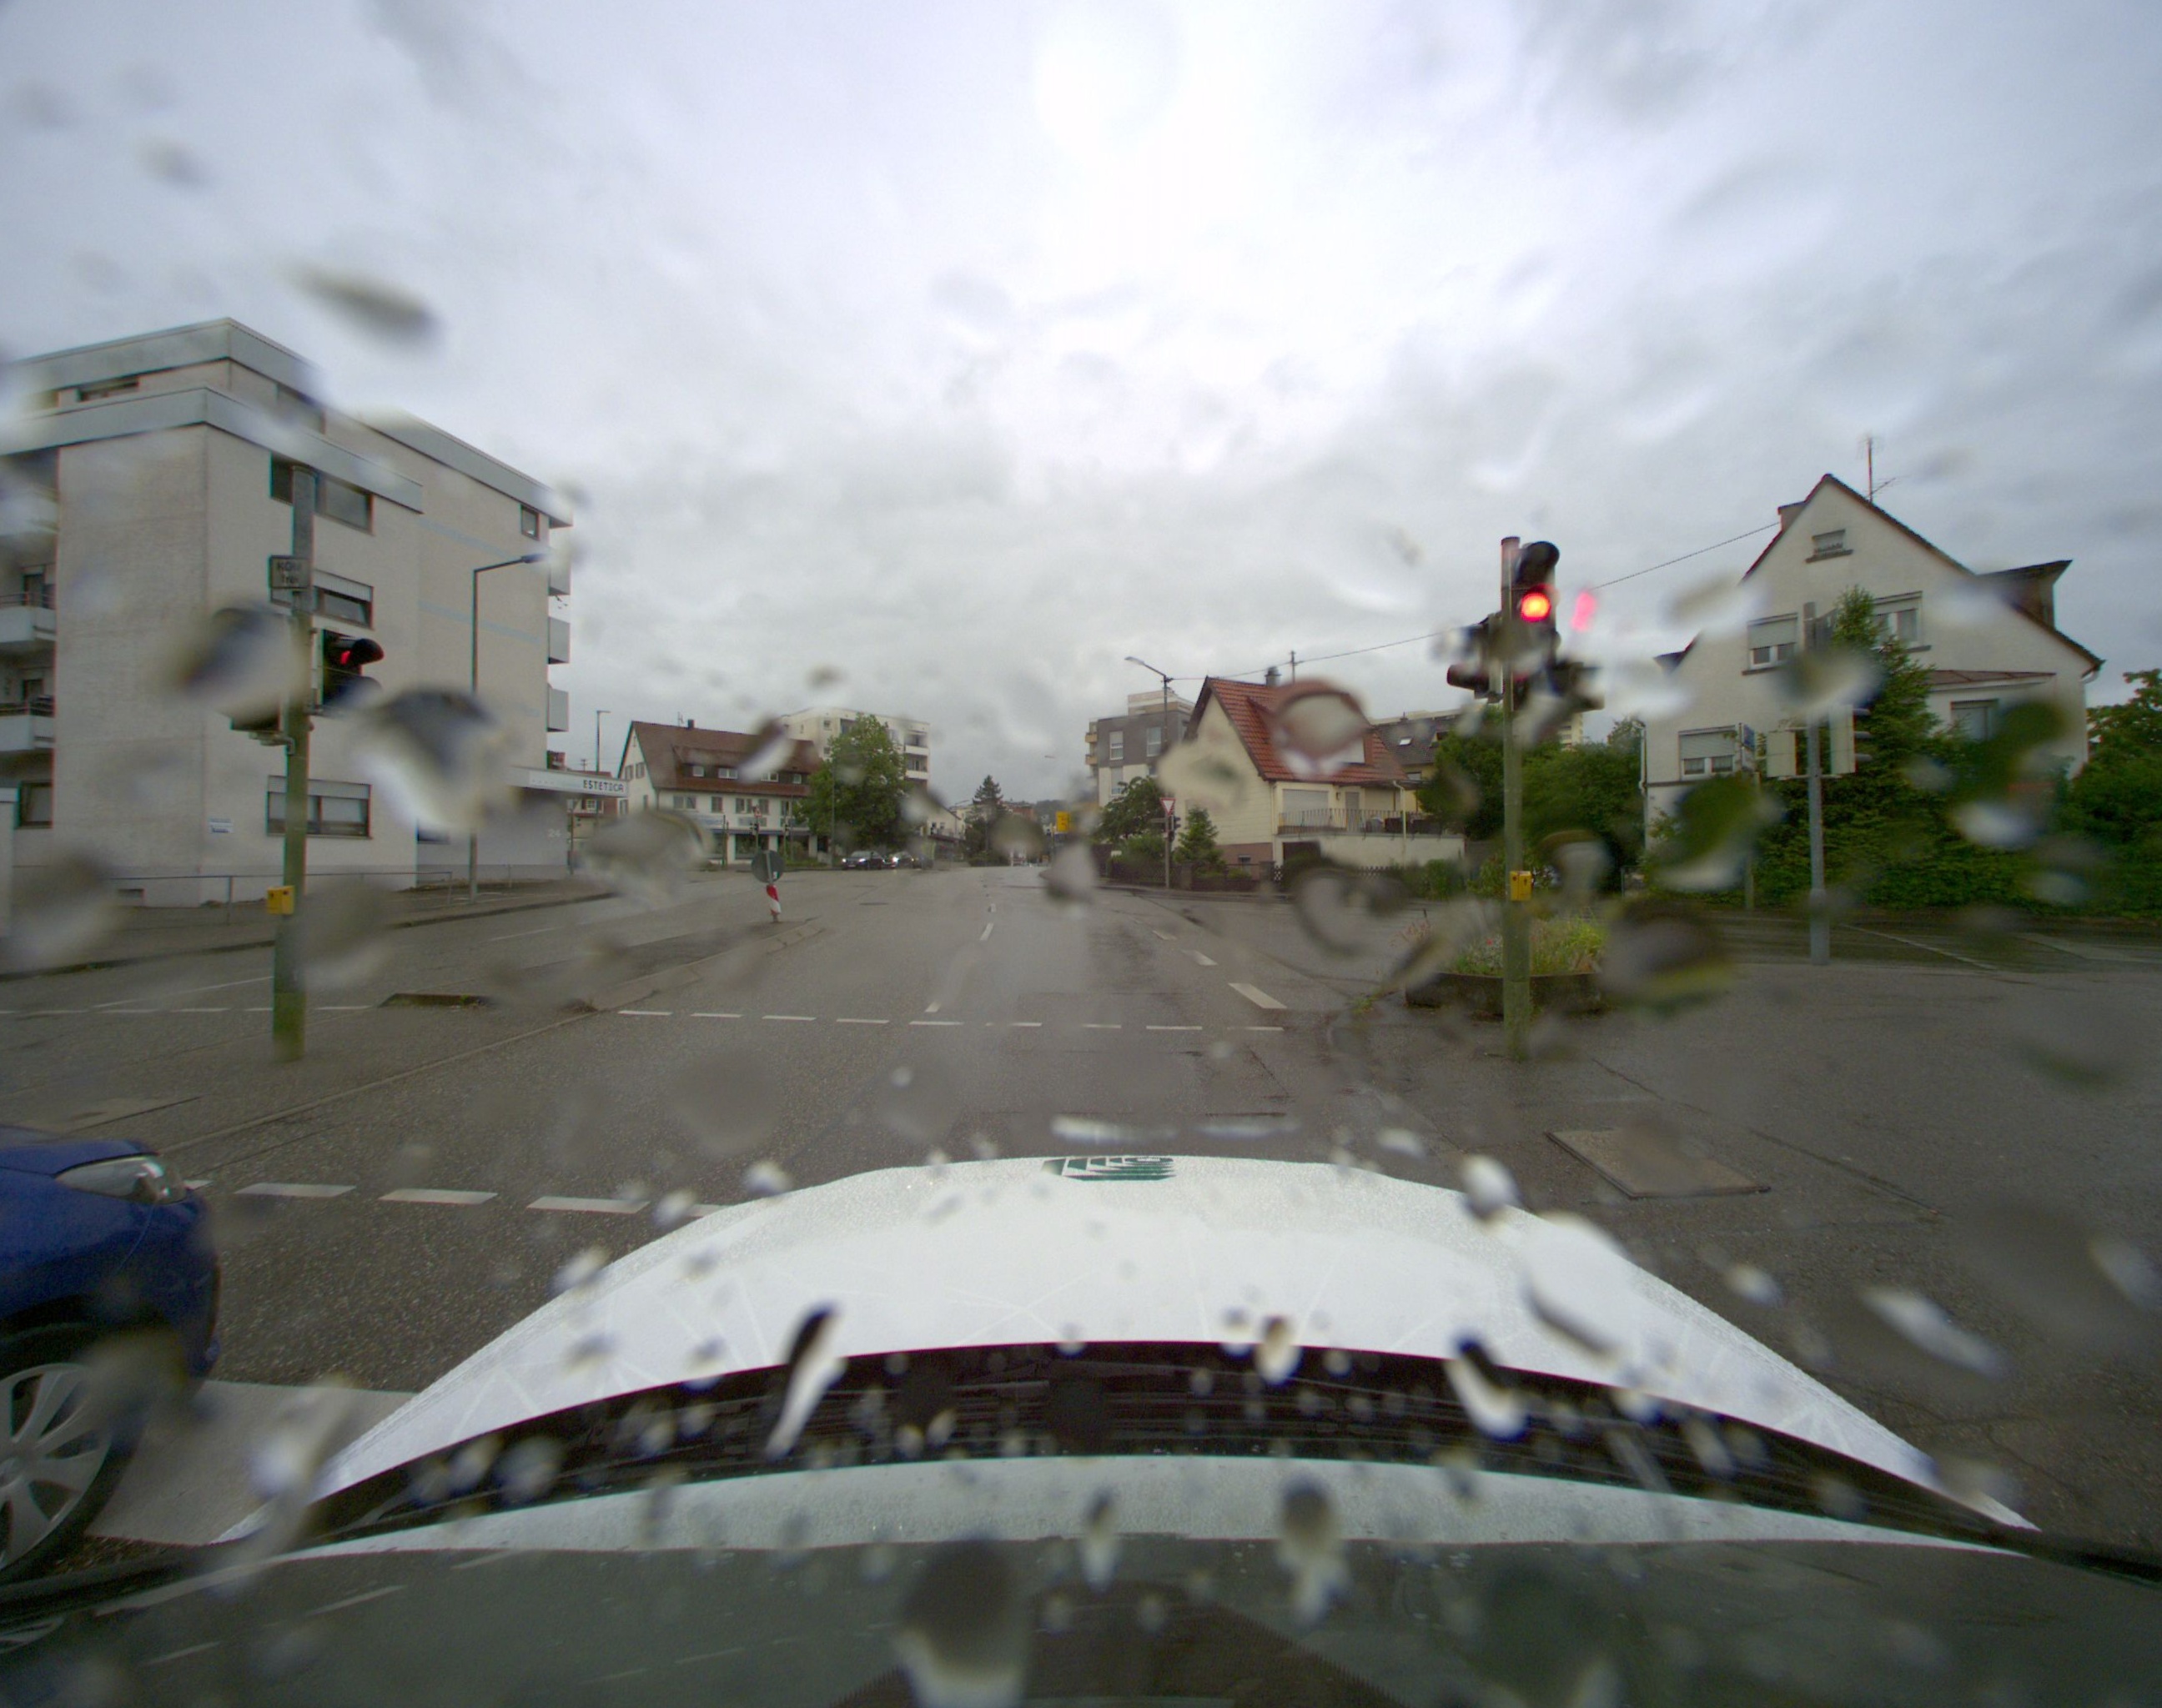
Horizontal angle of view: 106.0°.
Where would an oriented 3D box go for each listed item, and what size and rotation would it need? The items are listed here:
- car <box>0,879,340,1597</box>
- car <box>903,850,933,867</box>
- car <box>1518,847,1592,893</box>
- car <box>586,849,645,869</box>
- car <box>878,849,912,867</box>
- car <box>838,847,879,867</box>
[{"bbox_3d":[-2.986,0.786,0.725,1.572,1.410,3.272,0,0,2],"label":"car"},{"bbox_3d":[-14.379,0.369,71.932,1.772,1.420,3.832,0,0,2],"label":"car"},{"bbox_3d":[17.094,0.527,29.294,1.723,1.514,4.025,0,0,39],"label":"car"},{"bbox_3d":[-38.325,0.409,67.100,3.988,1.572,1.850,0,0,-42],"label":"car"},{"bbox_3d":[-15.014,0.310,66.090,1.708,1.387,4.022,0,0,2],"label":"car"},{"bbox_3d":[-16.013,0.190,58.742,1.772,1.420,3.832,0,0,2],"label":"car"}]
